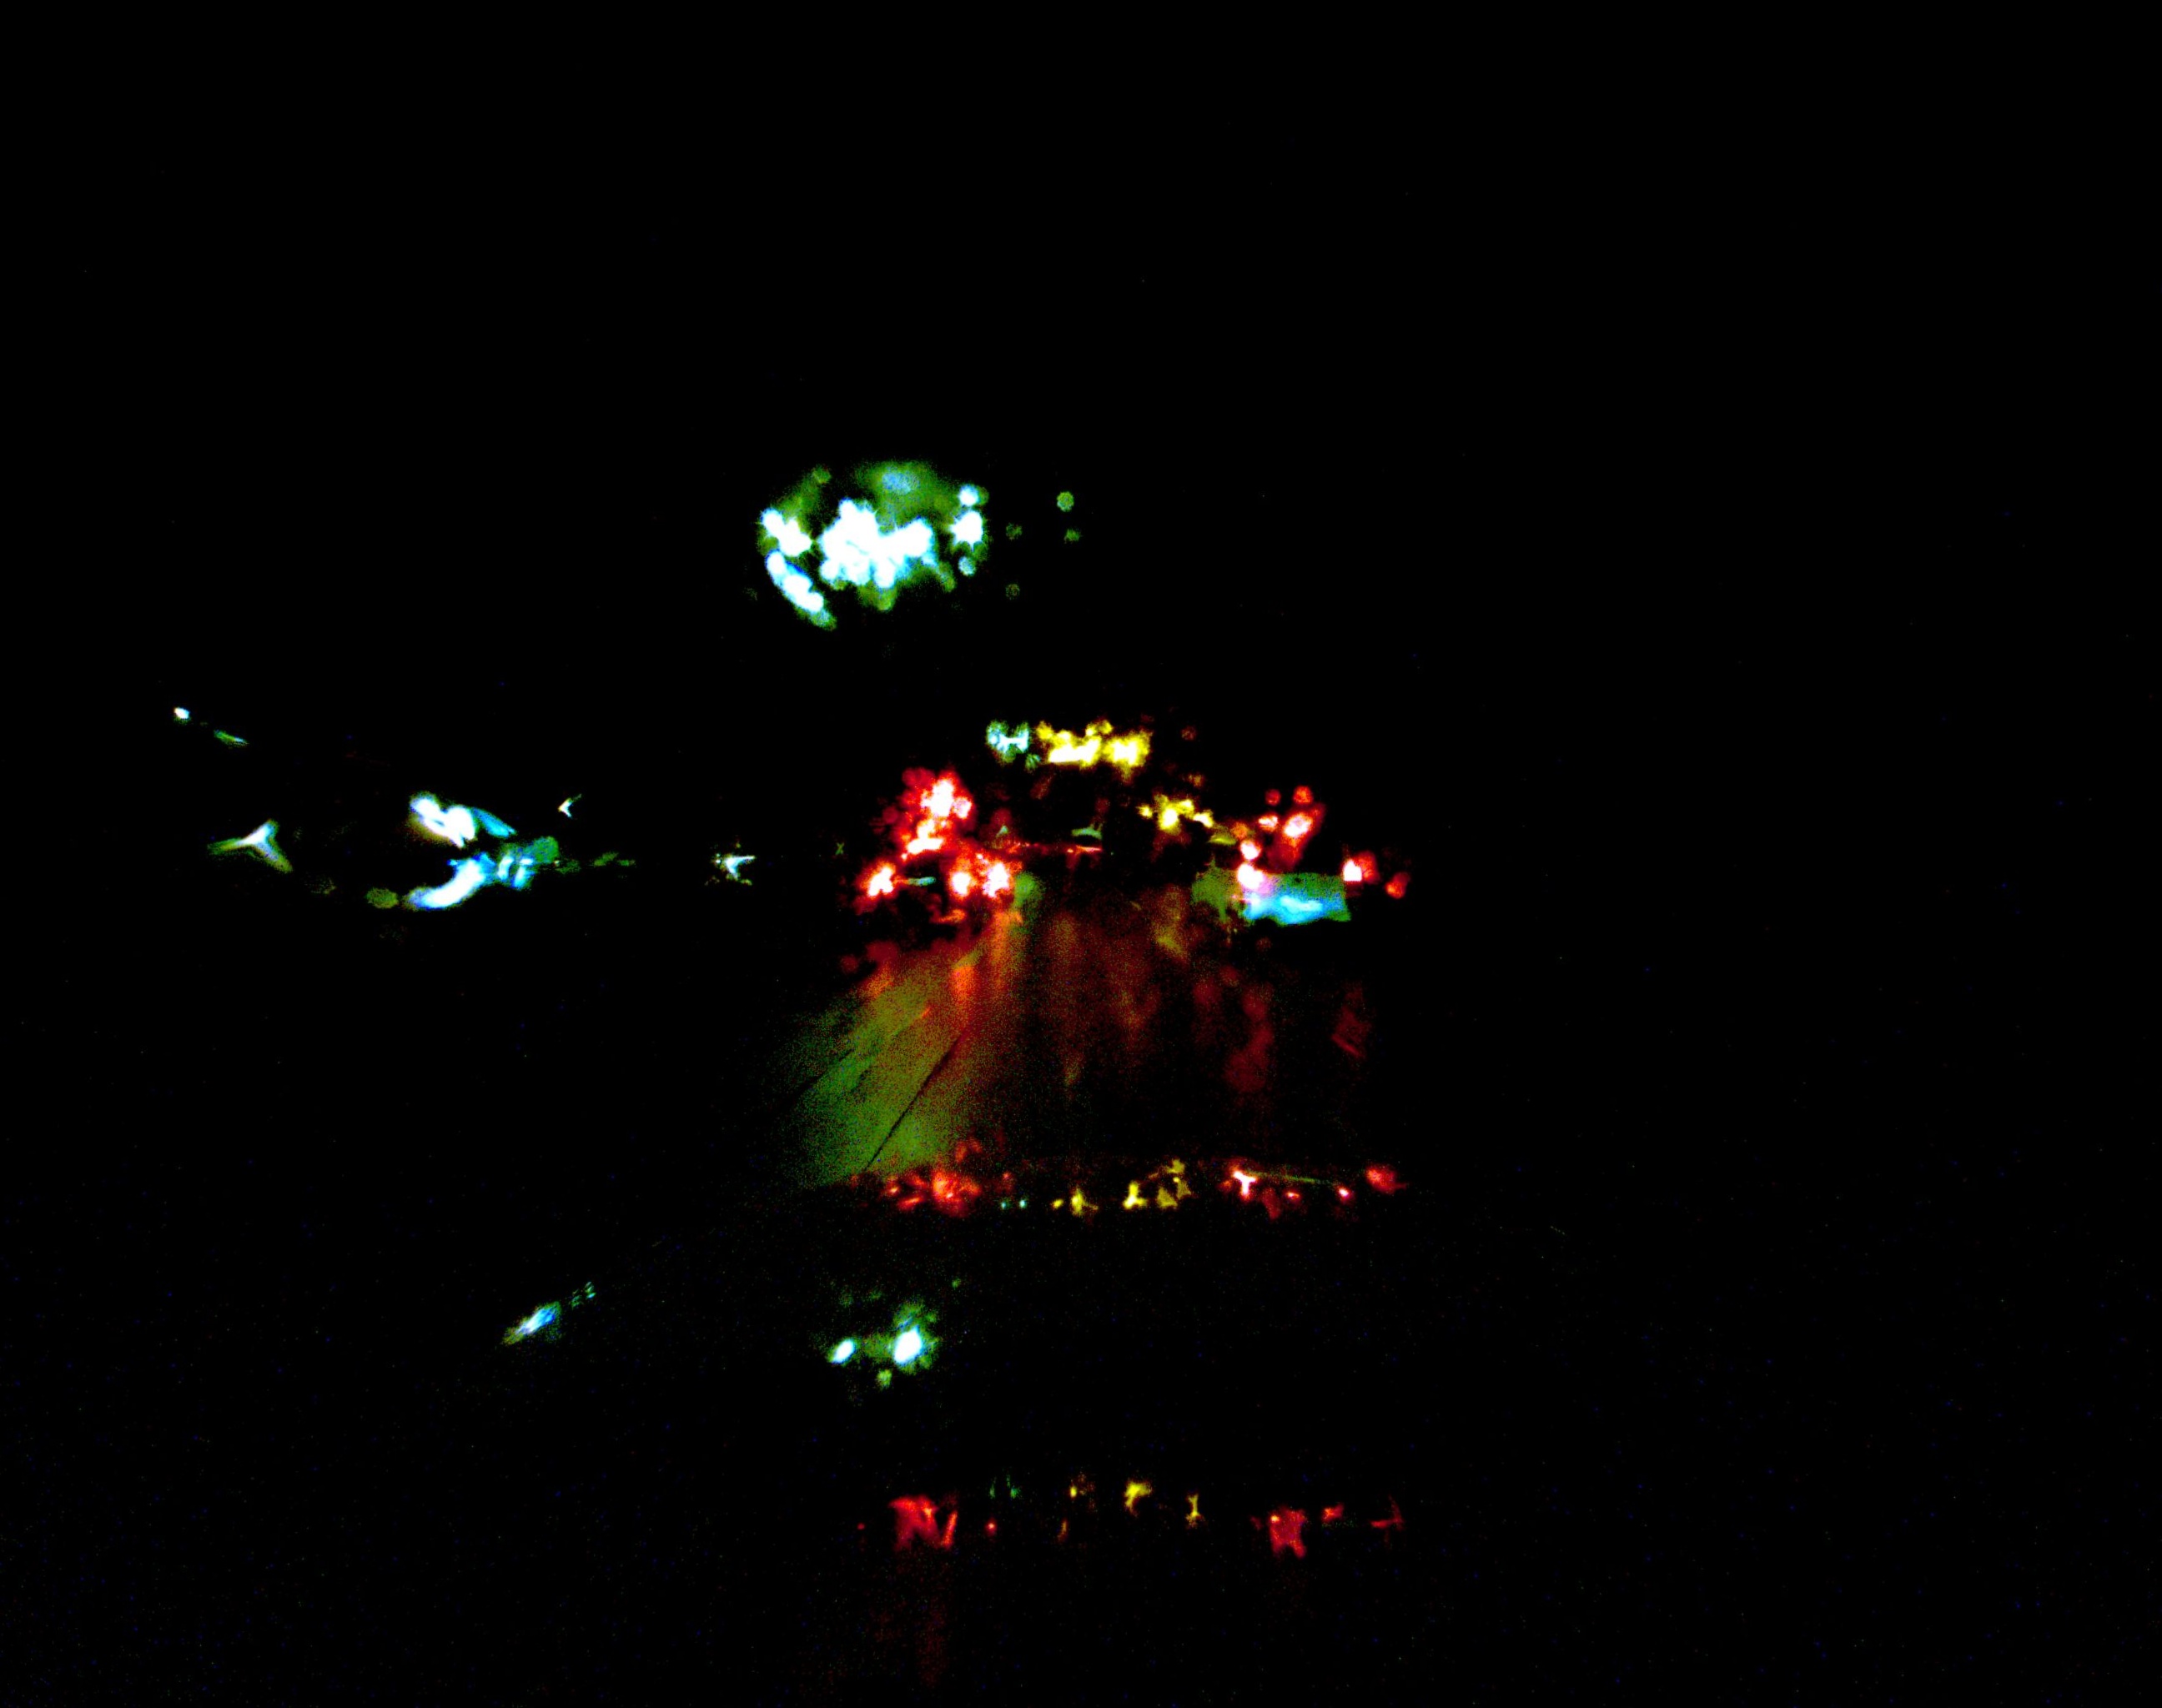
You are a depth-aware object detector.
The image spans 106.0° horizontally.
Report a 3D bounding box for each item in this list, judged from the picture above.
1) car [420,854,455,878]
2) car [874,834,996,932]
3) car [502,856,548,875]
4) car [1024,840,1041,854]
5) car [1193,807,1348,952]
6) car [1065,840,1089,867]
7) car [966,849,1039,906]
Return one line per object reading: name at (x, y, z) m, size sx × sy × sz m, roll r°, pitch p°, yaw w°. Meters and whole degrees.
car at (-42.412, 0.762, 53.764) m, size 1.522 × 1.518 × 4.327 m, roll 1°, pitch -1°, yaw -35°
car at (-2.938, 0.525, 17.354) m, size 1.778 × 1.782 × 4.435 m, roll -1°, pitch 0°, yaw 0°
car at (-45.107, 0.913, 66.192) m, size 1.723 × 1.519 × 3.983 m, roll 0°, pitch 0°, yaw -13°
car at (-7.059, -1.015, 119.255) m, size 1.985 × 1.717 × 4.003 m, roll 3°, pitch -1°, yaw 3°
car at (3.004, 0.340, 13.848) m, size 1.784 × 2.022 × 4.584 m, roll -1°, pitch 1°, yaw 3°
car at (-0.344, -0.050, 65.696) m, size 1.787 × 2.022 × 4.576 m, roll -1°, pitch 0°, yaw -2°
car at (-2.291, 0.634, 24.772) m, size 1.778 × 1.511 × 4.435 m, roll -2°, pitch 0°, yaw -1°
